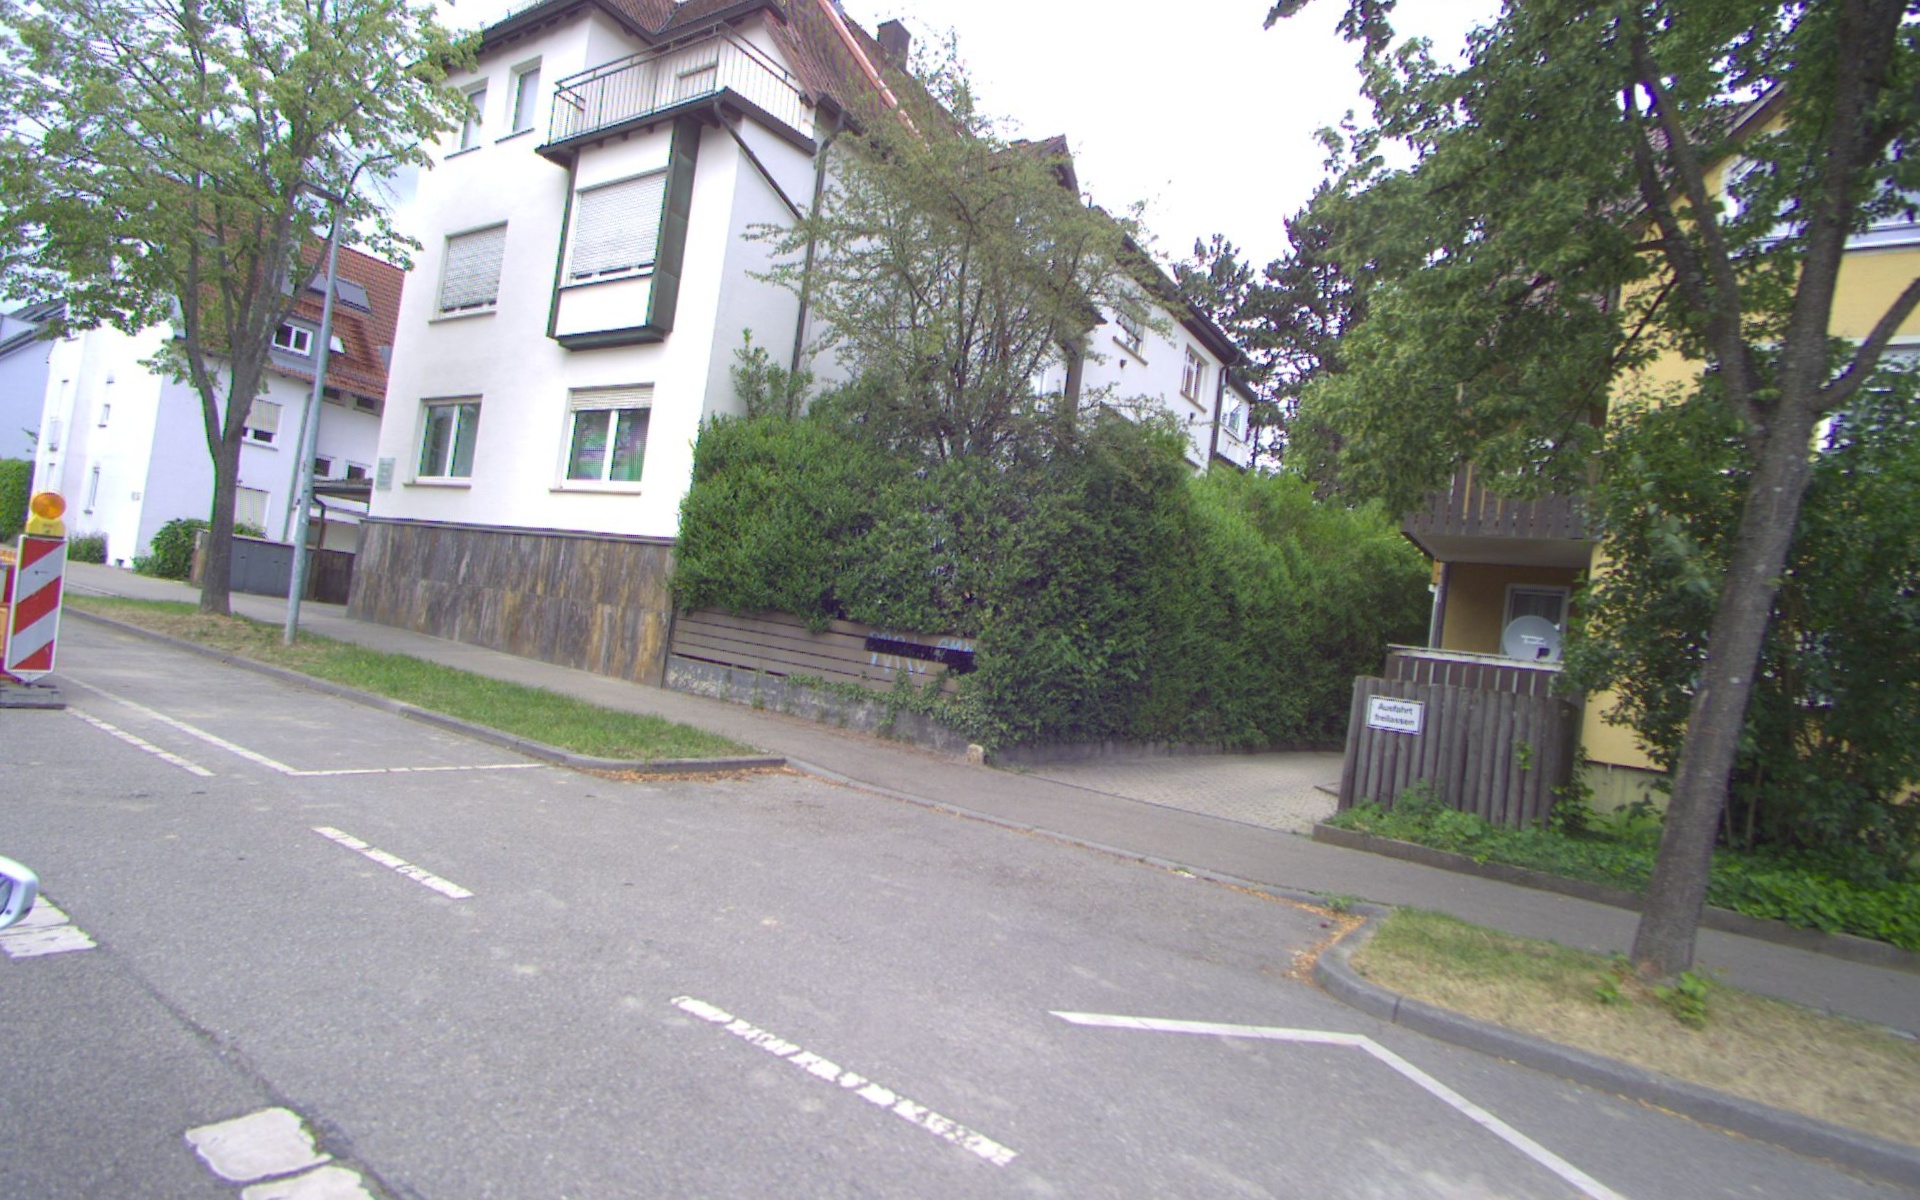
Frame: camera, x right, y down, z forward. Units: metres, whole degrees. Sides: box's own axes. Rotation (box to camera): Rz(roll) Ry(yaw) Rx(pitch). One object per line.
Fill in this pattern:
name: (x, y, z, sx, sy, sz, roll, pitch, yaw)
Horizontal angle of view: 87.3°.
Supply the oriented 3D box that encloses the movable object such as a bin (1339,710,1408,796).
movable object such as a bin: (5.768, 2.117, 14.028, 0.666, 1.066, 0.589, 7, -1, 37)
